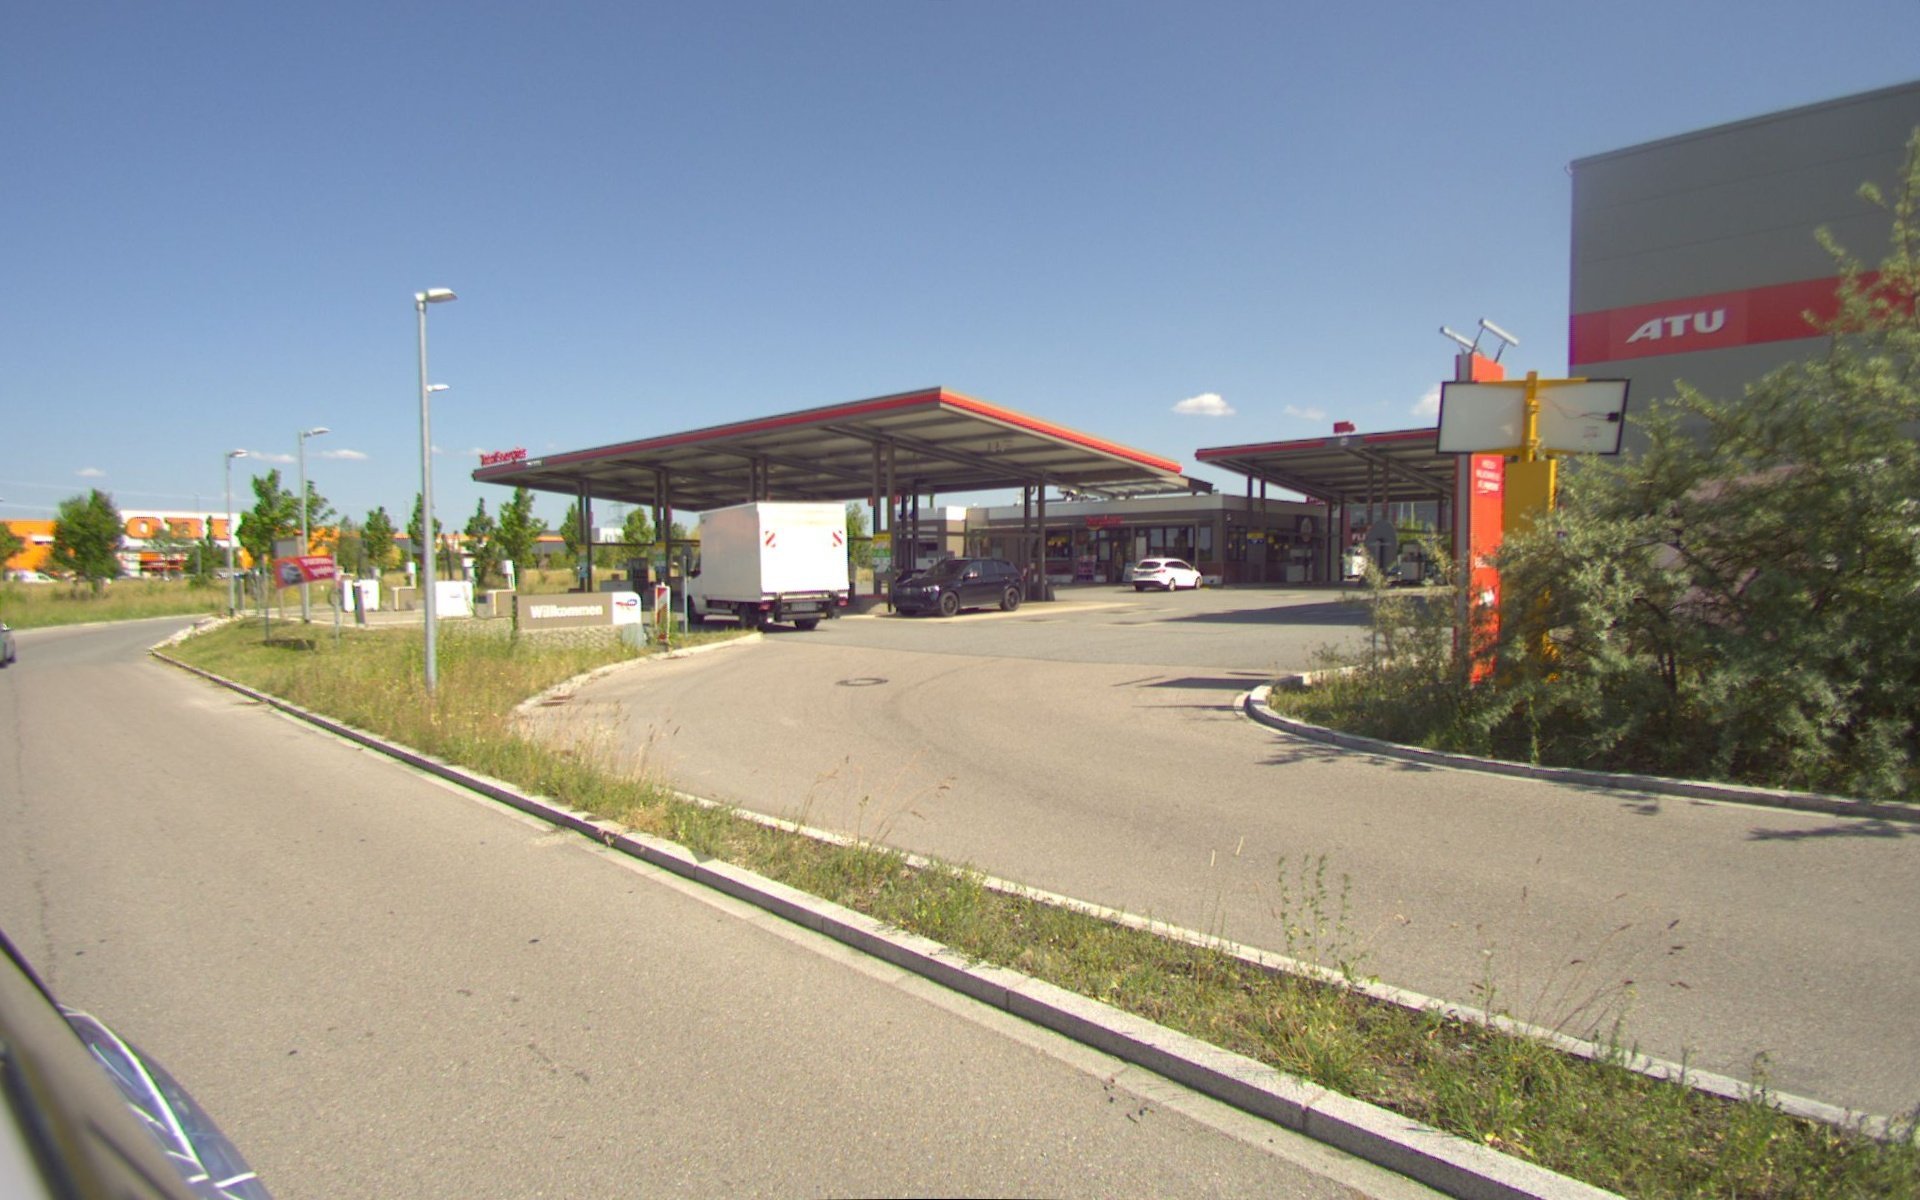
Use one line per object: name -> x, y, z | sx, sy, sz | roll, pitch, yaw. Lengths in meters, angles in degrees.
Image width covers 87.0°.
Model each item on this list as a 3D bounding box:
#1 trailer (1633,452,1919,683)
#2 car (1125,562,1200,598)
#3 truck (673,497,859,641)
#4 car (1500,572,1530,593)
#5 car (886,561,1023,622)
trailer -> 8.945, -0.336, 10.507 | 1.976, 2.028, 3.200 | -2, 1, 7
car -> 9.239, -0.938, 45.957 | 1.793, 1.541, 3.950 | -1, 1, 37
truck -> -5.422, -0.779, 27.226 | 2.597, 3.343, 6.926 | -2, 1, -31
car -> 42.123, -1.326, 76.779 | 1.597, 1.521, 3.557 | -1, 1, 36
car -> -0.101, -0.303, 31.908 | 1.795, 1.771, 4.459 | -1, 2, 41
